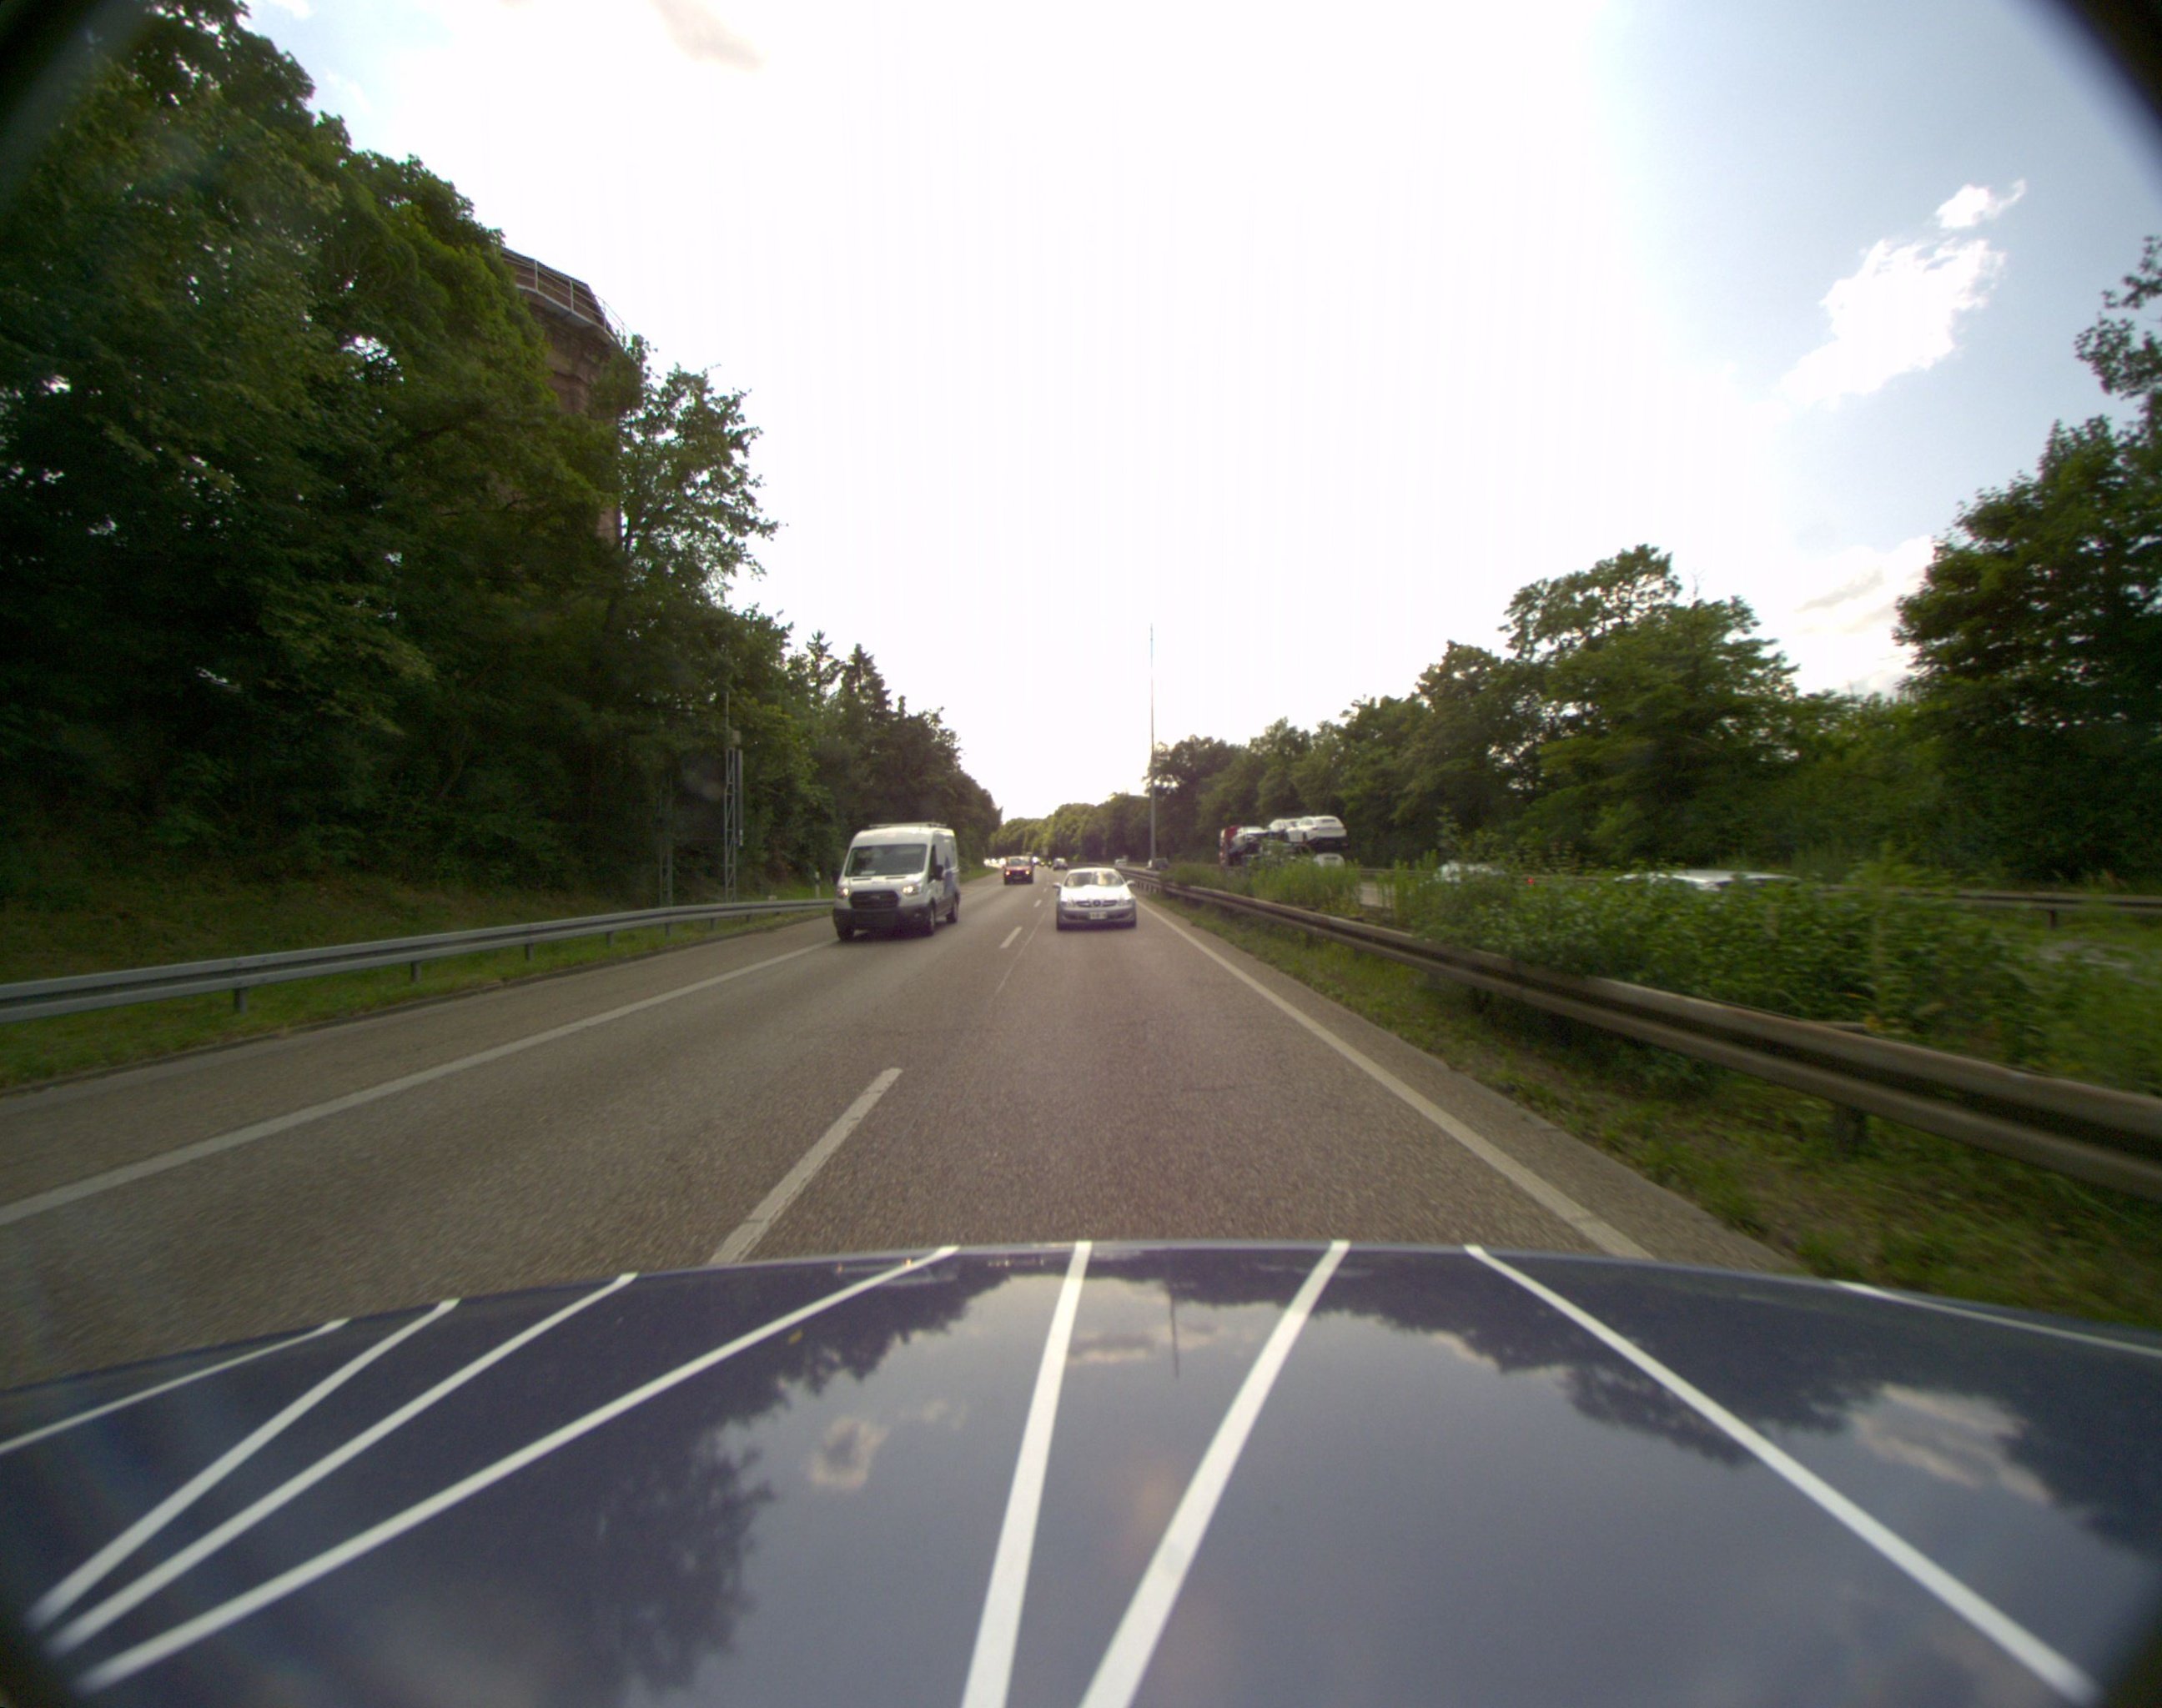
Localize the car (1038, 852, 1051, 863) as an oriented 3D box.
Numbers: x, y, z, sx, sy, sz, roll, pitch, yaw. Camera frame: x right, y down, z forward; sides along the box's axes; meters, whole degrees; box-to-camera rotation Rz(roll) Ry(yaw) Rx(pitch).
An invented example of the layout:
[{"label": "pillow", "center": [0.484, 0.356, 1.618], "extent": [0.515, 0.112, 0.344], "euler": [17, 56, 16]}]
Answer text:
[{"label": "car", "center": [-6.924, 0.594, 143.941], "extent": [2.000, 2.002, 3.997], "euler": [-1, 0, -9]}]

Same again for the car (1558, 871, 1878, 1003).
[{"label": "car", "center": [8.396, 1.000, 10.432], "extent": [1.618, 1.415, 3.323], "euler": [-1, 0, 0]}]

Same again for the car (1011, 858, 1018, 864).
[{"label": "car", "center": [-16.256, 1.735, 185.614], "extent": [1.786, 1.512, 3.998], "euler": [-1, 0, -5]}]

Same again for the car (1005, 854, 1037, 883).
[{"label": "car", "center": [-4.024, 0.977, 51.898], "extent": [1.909, 1.795, 4.394], "euler": [-3, 0, -2]}]

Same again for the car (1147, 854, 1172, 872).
[{"label": "car", "center": [7.092, 0.789, 68.705], "extent": [1.678, 1.542, 4.262], "euler": [-1, 0, -2]}]

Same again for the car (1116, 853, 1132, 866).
[{"label": "car", "center": [5.563, 0.669, 98.891], "extent": [1.710, 1.559, 4.030], "euler": [-1, 0, -2]}]

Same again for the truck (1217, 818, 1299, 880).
[{"label": "truck", "center": [11.839, -0.328, 51.896], "extent": [2.963, 3.833, 10.321], "euler": [0, 0, -1]}]

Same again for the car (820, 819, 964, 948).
[{"label": "car", "center": [-4.172, 0.583, 17.788], "extent": [2.104, 2.493, 5.277], "euler": [-3, 0, -2]}]

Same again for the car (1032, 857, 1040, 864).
[{"label": "car", "center": [-9.699, 1.397, 163.931], "extent": [1.700, 1.579, 3.998], "euler": [-1, 0, -3]}]

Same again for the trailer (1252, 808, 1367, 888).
[{"label": "trailer", "center": [12.119, -0.288, 41.593], "extent": [2.946, 3.811, 10.307], "euler": [0, 0, -2]}]

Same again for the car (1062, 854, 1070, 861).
[{"label": "car", "center": [-3.699, 0.803, 188.659], "extent": [1.850, 1.808, 5.476], "euler": [-1, 0, -4]}]

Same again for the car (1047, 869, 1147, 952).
[{"label": "car", "center": [0.336, 1.080, 16.298], "extent": [1.751, 1.295, 5.223], "euler": [-3, 0, 1]}]

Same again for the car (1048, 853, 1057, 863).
[{"label": "car", "center": [-4.769, 0.700, 126.586], "extent": [1.473, 1.560, 3.293], "euler": [-1, 0, -4]}]

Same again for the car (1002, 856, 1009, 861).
[{"label": "car", "center": [-22.603, 1.427, 227.489], "extent": [1.786, 1.512, 3.997], "euler": [-1, 0, -7]}]

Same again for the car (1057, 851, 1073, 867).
[{"label": "car", "center": [-2.170, 0.675, 100.550], "extent": [1.999, 2.002, 3.999], "euler": [-1, 0, -2]}]
